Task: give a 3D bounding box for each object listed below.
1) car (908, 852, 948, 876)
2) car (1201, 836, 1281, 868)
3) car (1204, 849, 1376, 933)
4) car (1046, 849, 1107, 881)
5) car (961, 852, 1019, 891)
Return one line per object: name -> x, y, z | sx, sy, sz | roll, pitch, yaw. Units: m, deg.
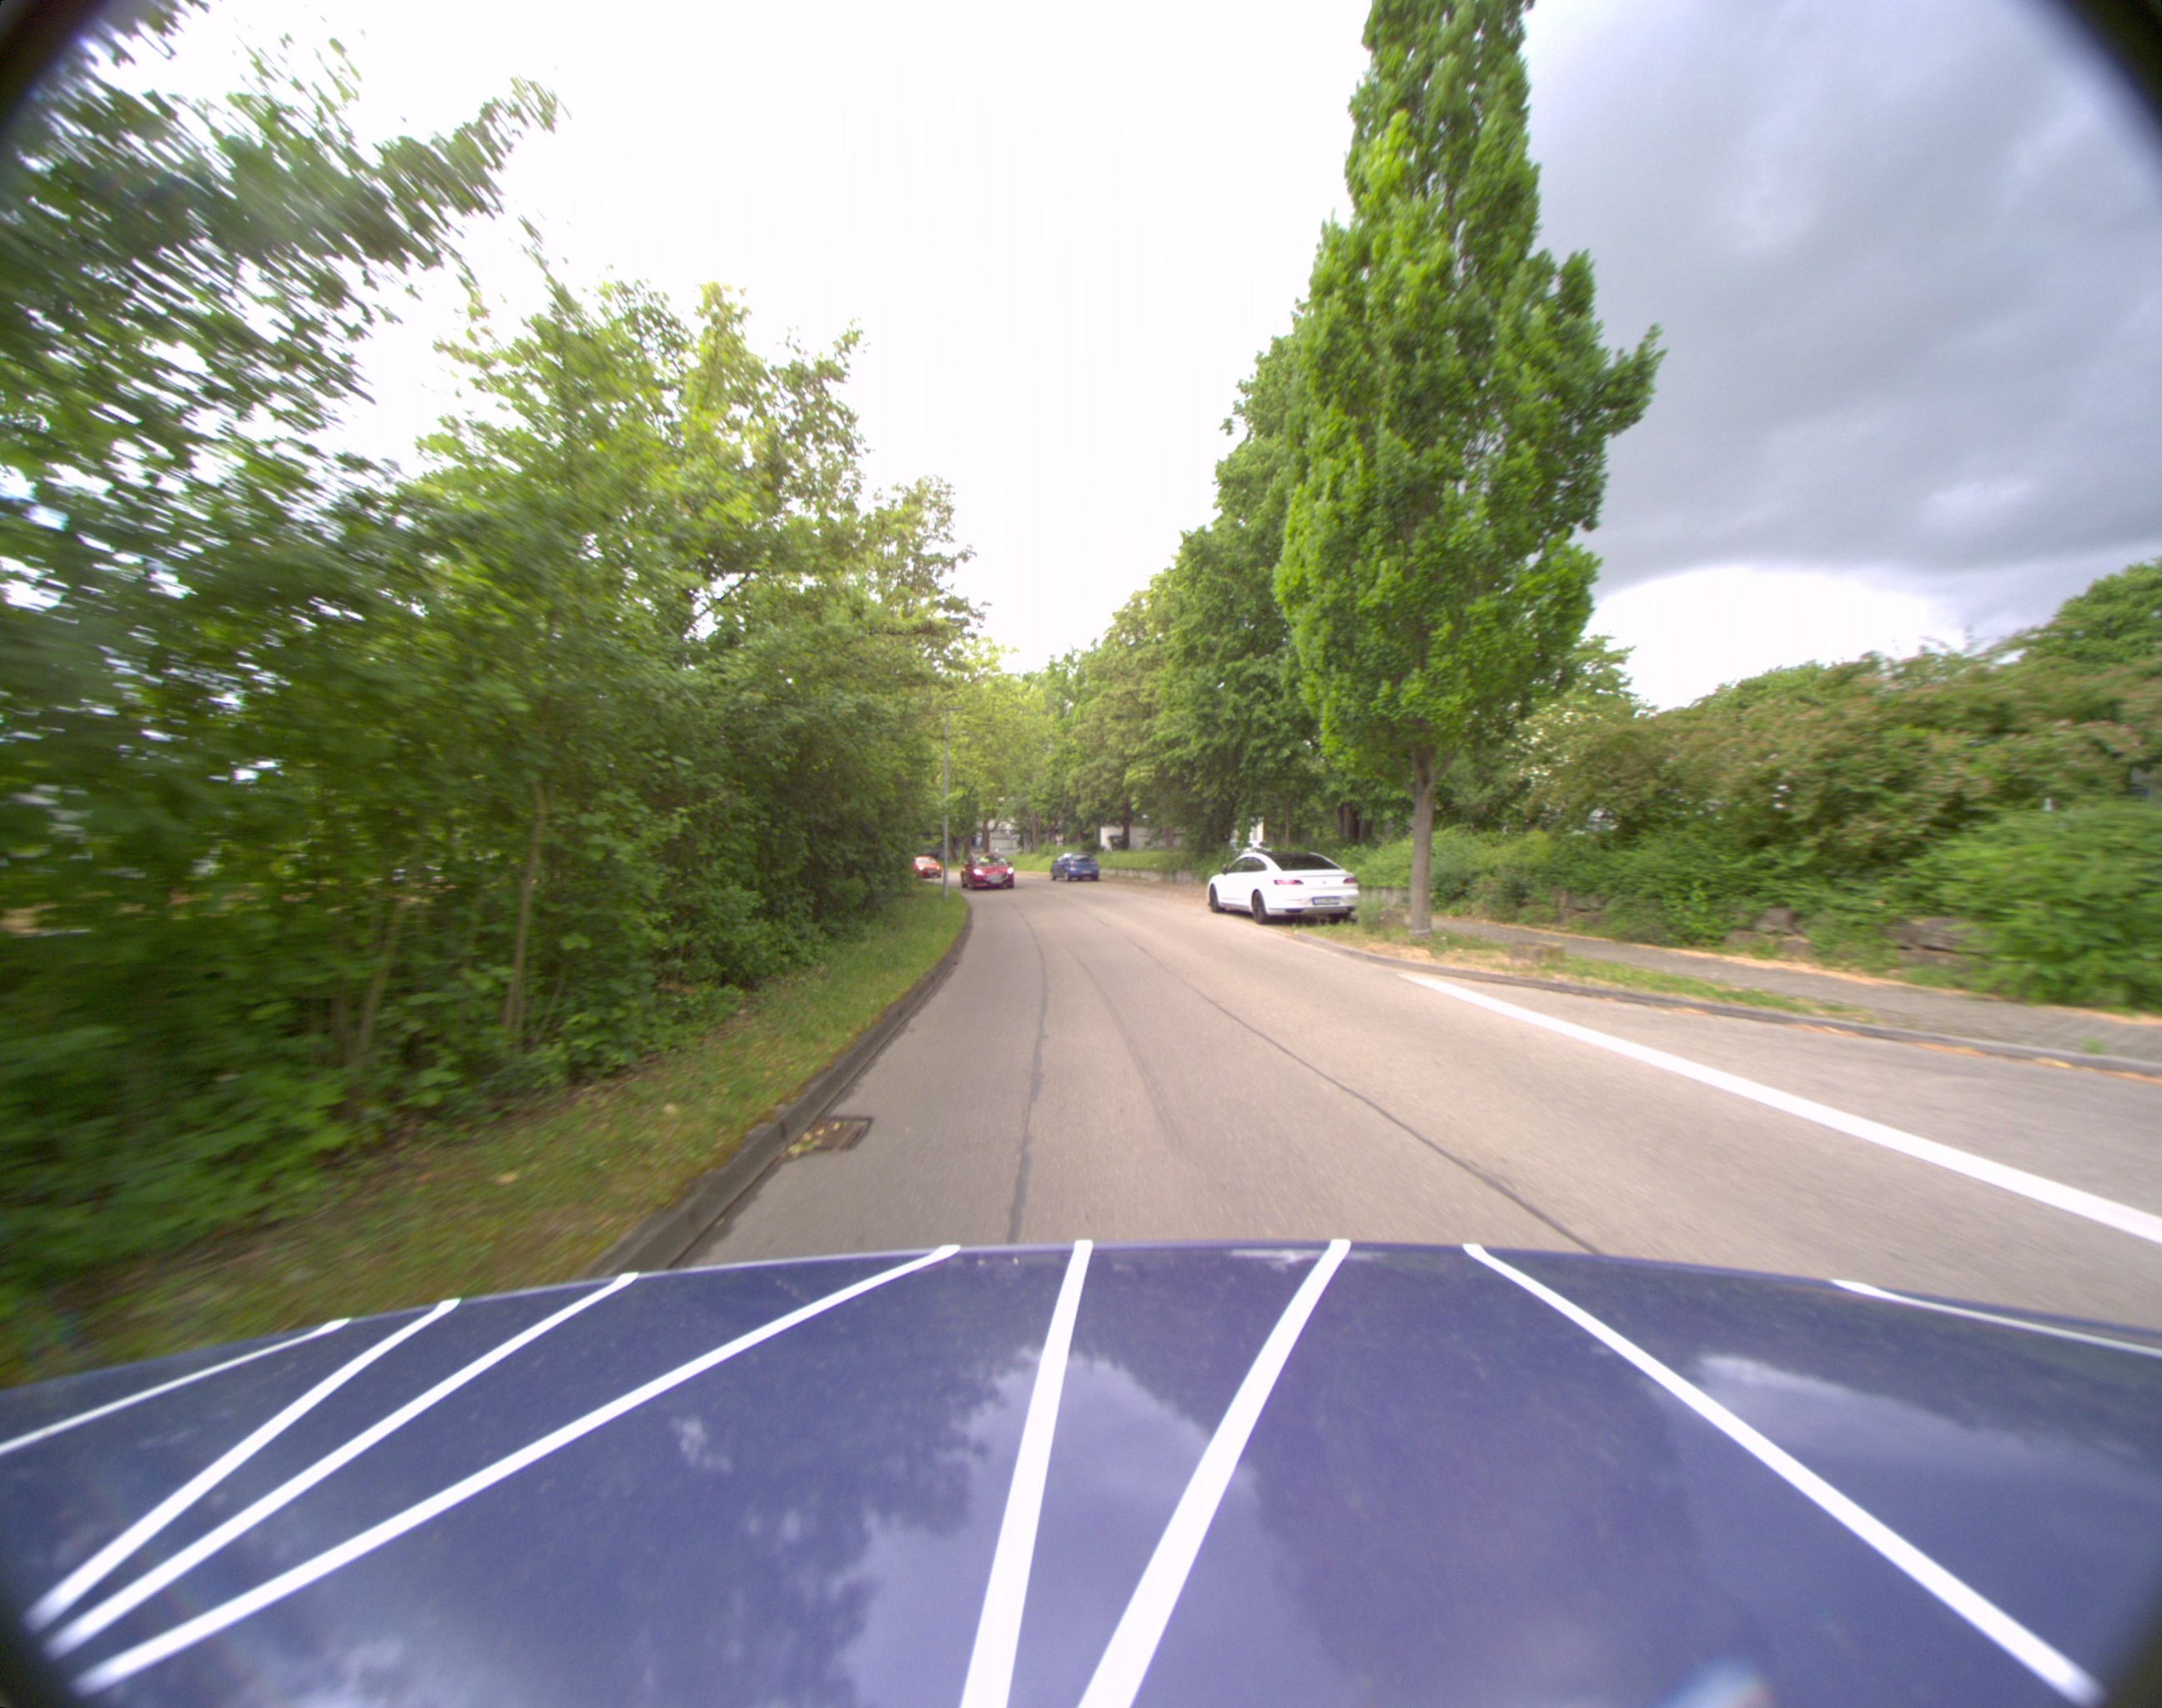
car -> -10.423, 0.653, 51.525 | 1.951, 1.523, 4.079 | -2, 1, -21
car -> 8.882, -0.097, 42.265 | 3.801, 1.629, 2.003 | -1, 2, 36
car -> 4.183, 0.654, 16.107 | 1.853, 1.483, 4.632 | -1, 1, -7
car -> -0.277, 0.538, 38.876 | 1.855, 1.483, 3.993 | -1, 1, -20
car -> -4.222, 0.722, 34.658 | 1.948, 1.550, 4.349 | -2, 1, -16
